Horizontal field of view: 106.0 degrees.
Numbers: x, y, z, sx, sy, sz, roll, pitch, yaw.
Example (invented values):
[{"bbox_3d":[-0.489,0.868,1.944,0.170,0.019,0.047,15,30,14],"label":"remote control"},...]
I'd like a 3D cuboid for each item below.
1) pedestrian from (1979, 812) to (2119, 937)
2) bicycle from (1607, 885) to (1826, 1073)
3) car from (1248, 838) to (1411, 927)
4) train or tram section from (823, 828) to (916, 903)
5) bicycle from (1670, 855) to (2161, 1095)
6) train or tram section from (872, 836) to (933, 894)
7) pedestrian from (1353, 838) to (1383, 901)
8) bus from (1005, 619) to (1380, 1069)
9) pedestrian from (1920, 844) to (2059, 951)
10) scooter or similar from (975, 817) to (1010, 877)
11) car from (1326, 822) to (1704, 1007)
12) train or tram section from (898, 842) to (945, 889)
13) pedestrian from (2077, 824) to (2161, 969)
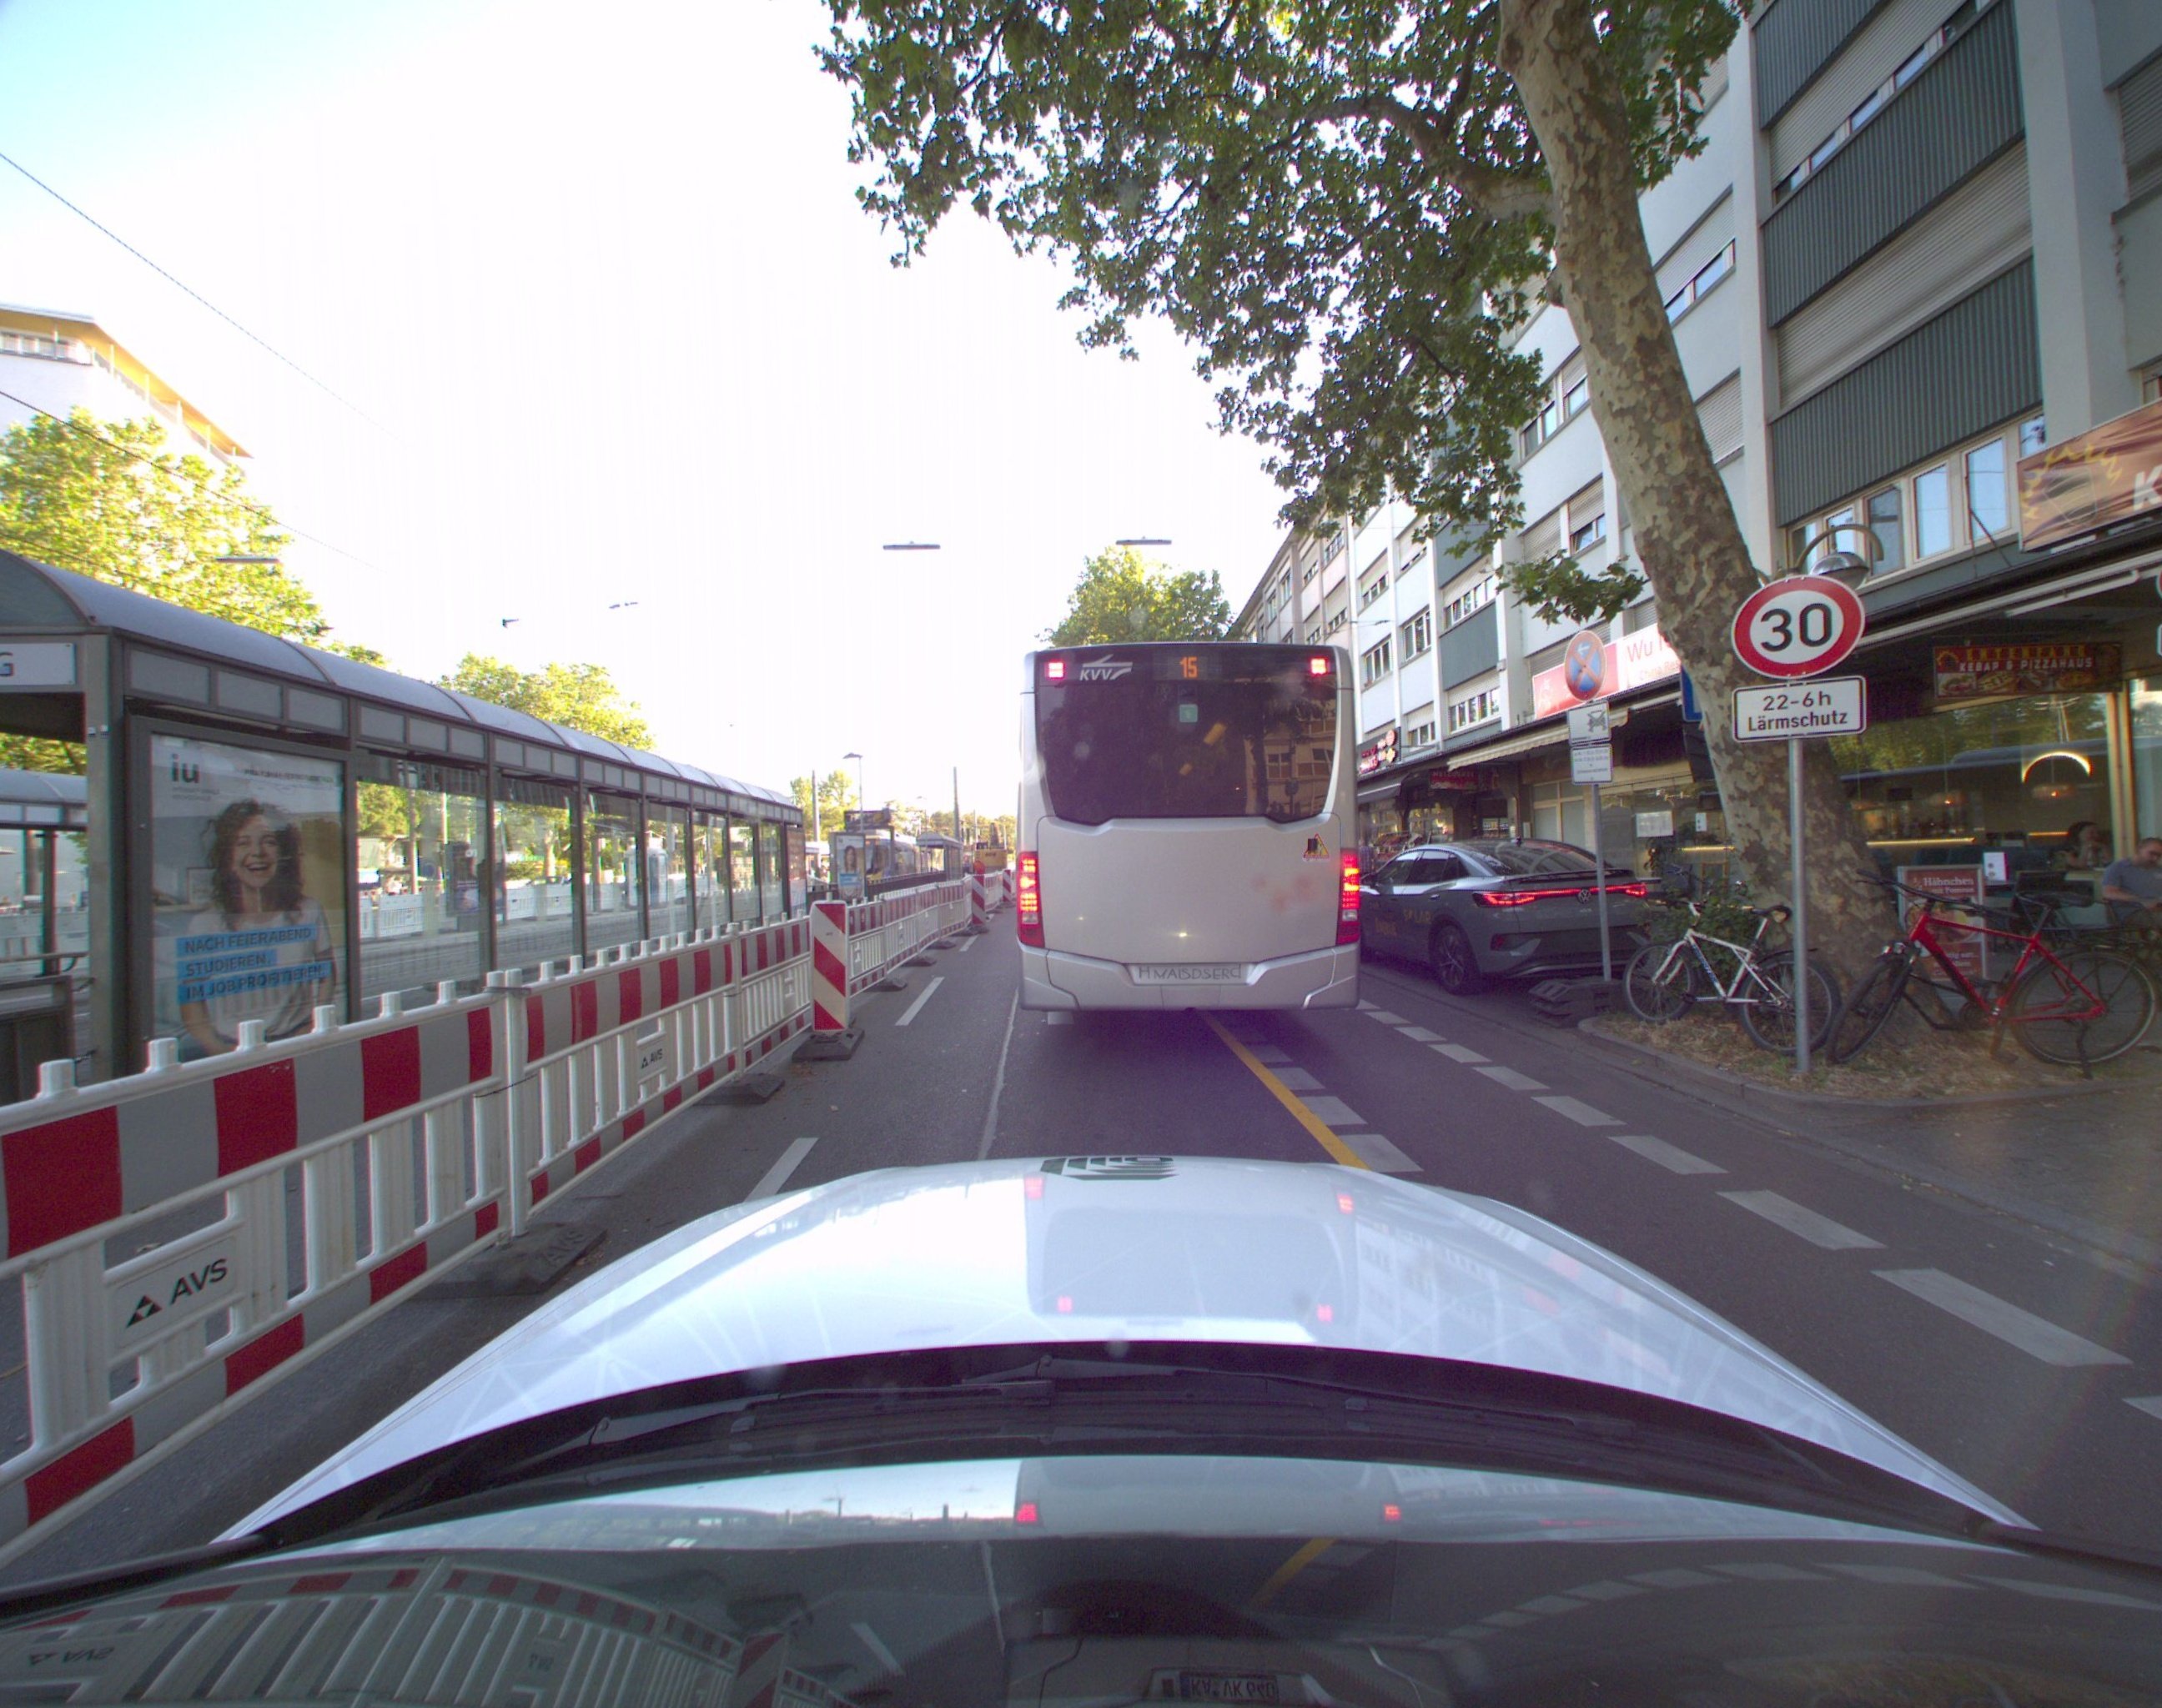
[{"bbox_3d":[11.068,0.226,9.334,0.836,1.333,0.963,-2,-1,-39],"label":"pedestrian"},{"bbox_3d":[4.570,0.836,5.985,0.550,1.155,1.446,-2,-1,6],"label":"bicycle"},{"bbox_3d":[5.266,0.550,17.945,1.989,1.582,4.364,-4,0,-3],"label":"car"},{"bbox_3d":[-11.192,0.582,44.446,2.681,3.534,11.756,0,-1,-3],"label":"train or tram section"},{"bbox_3d":[5.054,0.722,4.844,2.370,1.155,0.557,-7,-2,14],"label":"bicycle"},{"bbox_3d":[-12.052,0.756,56.054,2.682,3.558,11.559,0,-1,-5],"label":"train or tram section"},{"bbox_3d":[7.867,0.417,22.345,0.658,1.666,0.603,-4,-1,18],"label":"pedestrian"},{"bbox_3d":[0.903,-0.044,9.671,2.601,3.126,7.996,0,0,2],"label":"bus"},{"bbox_3d":[9.857,0.451,8.852,0.643,1.081,0.945,-2,-1,-39],"label":"pedestrian"},{"bbox_3d":[-6.993,-0.488,64.840,2.465,4.471,5.961,-2,-1,-5],"label":"scooter or similar"},{"bbox_3d":[4.731,0.557,9.799,1.989,1.582,4.364,-4,0,-3],"label":"car"},{"bbox_3d":[-13.046,0.909,67.548,2.683,3.533,11.558,0,-1,-6],"label":"train or tram section"},{"bbox_3d":[9.685,0.363,7.323,0.555,1.245,0.692,-4,0,8],"label":"pedestrian"}]
